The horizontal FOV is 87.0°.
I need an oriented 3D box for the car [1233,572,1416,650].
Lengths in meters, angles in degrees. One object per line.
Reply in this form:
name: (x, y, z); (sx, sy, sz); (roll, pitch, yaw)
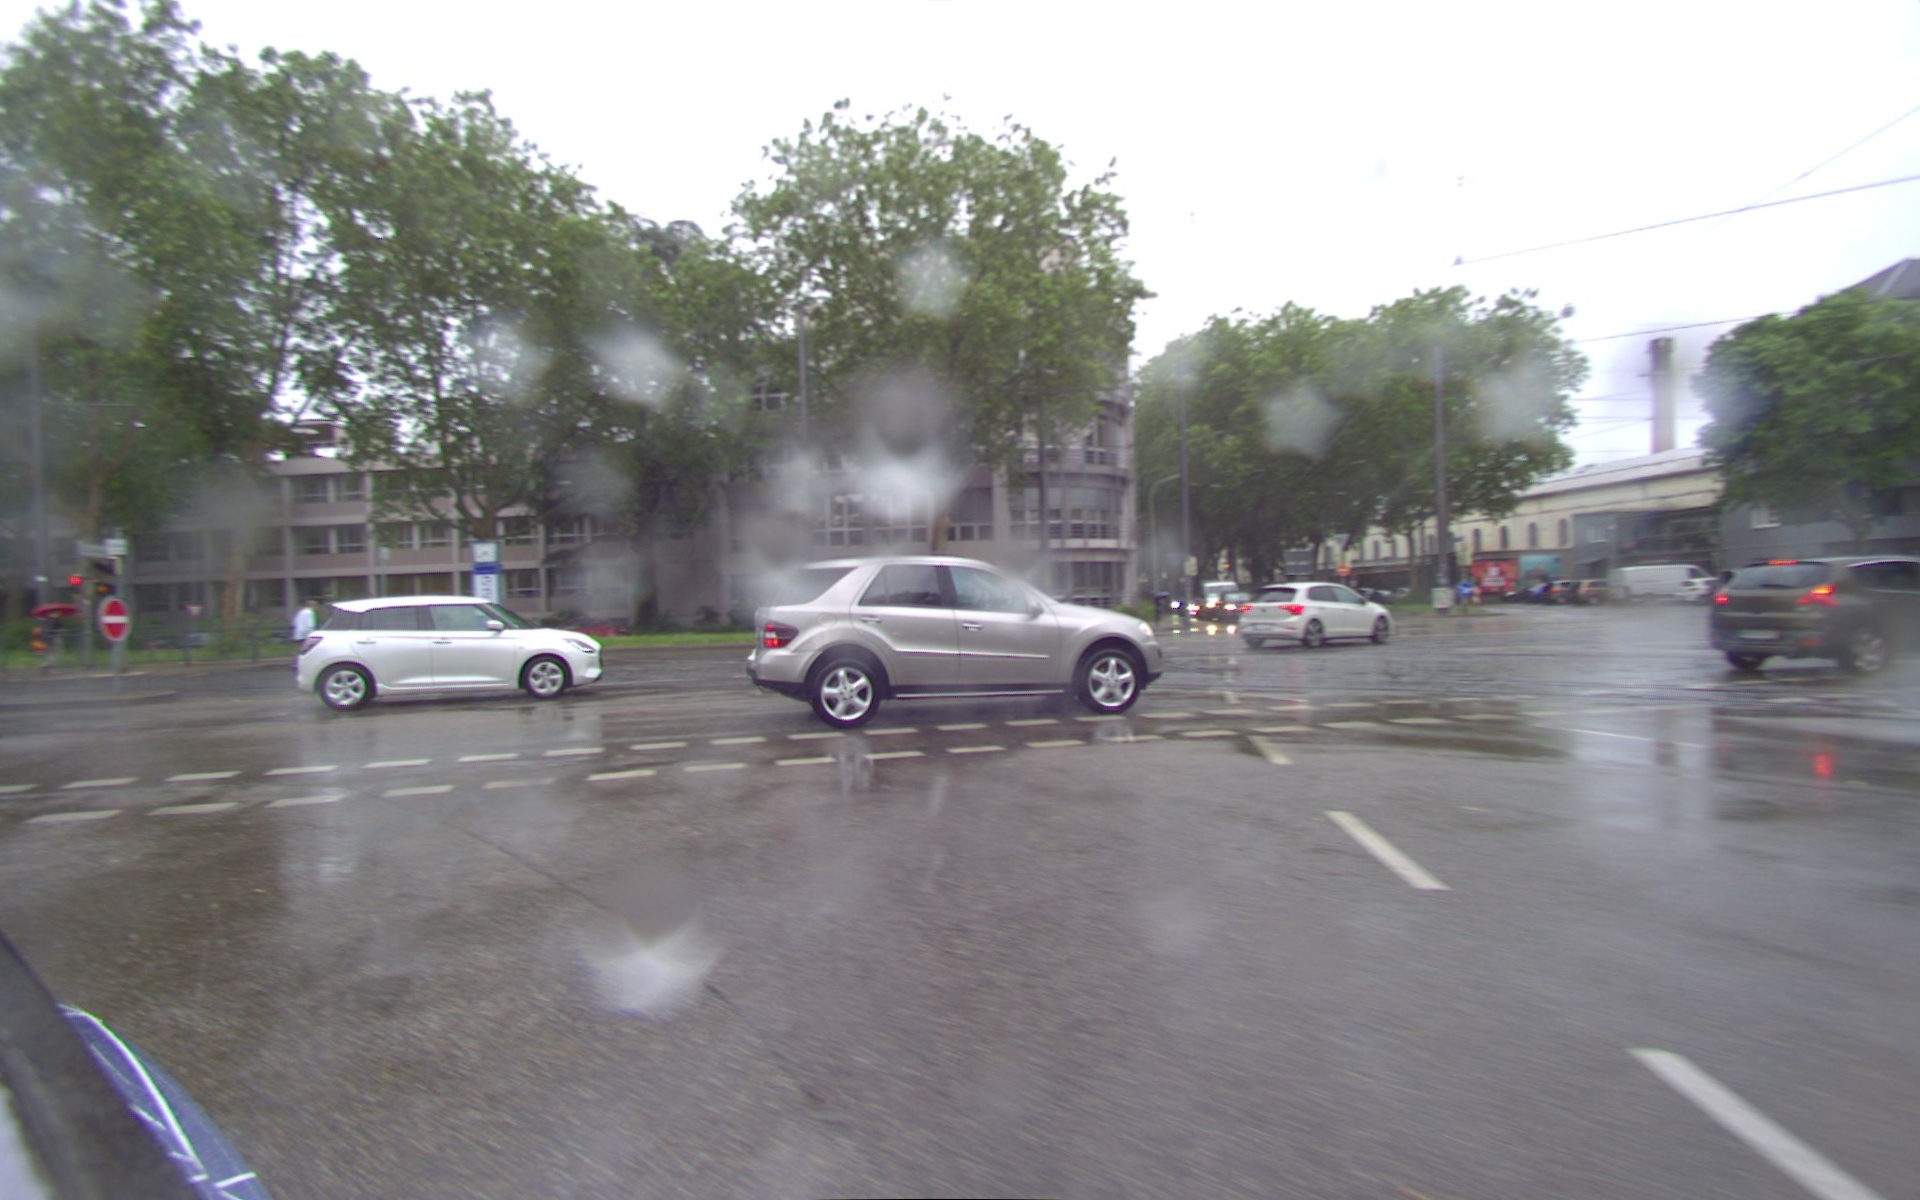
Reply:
car: (8.268, 0.201, 22.841); (4.122, 1.548, 1.817); (-2, 0, -35)

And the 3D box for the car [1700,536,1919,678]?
car: (12.659, 0.018, 13.746); (4.123, 1.722, 1.811); (-2, 1, -10)

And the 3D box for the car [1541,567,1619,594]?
car: (41.699, -1.295, 68.142); (3.951, 1.626, 1.996); (-2, 0, 6)

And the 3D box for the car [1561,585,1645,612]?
car: (40.852, -0.094, 64.379); (3.951, 1.626, 1.996); (1, 1, 6)

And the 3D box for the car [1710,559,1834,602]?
car: (40.747, -0.979, 50.897); (4.351, 2.028, 2.060); (-2, 1, 11)

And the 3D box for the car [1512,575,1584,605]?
car: (41.534, -0.708, 71.629); (3.963, 1.943, 1.991); (-1, 1, 15)

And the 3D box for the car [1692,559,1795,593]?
car: (41.700, -1.259, 53.931); (3.942, 1.630, 1.928); (-2, 1, -2)

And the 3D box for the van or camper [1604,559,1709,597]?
van or camper: (40.440, -1.280, 58.847); (4.595, 2.091, 1.998); (-1, 1, 5)

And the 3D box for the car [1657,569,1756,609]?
car: (41.355, -0.623, 56.142); (3.942, 2.029, 2.001); (-2, 1, -2)

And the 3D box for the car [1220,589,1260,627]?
car: (14.715, 0.386, 53.300); (1.786, 1.785, 3.983); (-3, 0, 13)

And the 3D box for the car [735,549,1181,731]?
car: (-0.110, 0.344, 11.289); (4.602, 1.659, 1.919); (-2, 1, -13)

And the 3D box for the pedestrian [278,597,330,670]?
pedestrian: (-14.856, 0.750, 22.927); (0.733, 1.622, 0.710); (-2, 0, 32)

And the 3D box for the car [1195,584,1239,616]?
car: (15.327, -0.026, 60.504); (1.981, 1.785, 3.992); (-2, 0, 7)

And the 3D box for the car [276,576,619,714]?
car: (-7.029, 0.546, 14.250); (4.003, 1.599, 1.813); (-2, 1, -24)
